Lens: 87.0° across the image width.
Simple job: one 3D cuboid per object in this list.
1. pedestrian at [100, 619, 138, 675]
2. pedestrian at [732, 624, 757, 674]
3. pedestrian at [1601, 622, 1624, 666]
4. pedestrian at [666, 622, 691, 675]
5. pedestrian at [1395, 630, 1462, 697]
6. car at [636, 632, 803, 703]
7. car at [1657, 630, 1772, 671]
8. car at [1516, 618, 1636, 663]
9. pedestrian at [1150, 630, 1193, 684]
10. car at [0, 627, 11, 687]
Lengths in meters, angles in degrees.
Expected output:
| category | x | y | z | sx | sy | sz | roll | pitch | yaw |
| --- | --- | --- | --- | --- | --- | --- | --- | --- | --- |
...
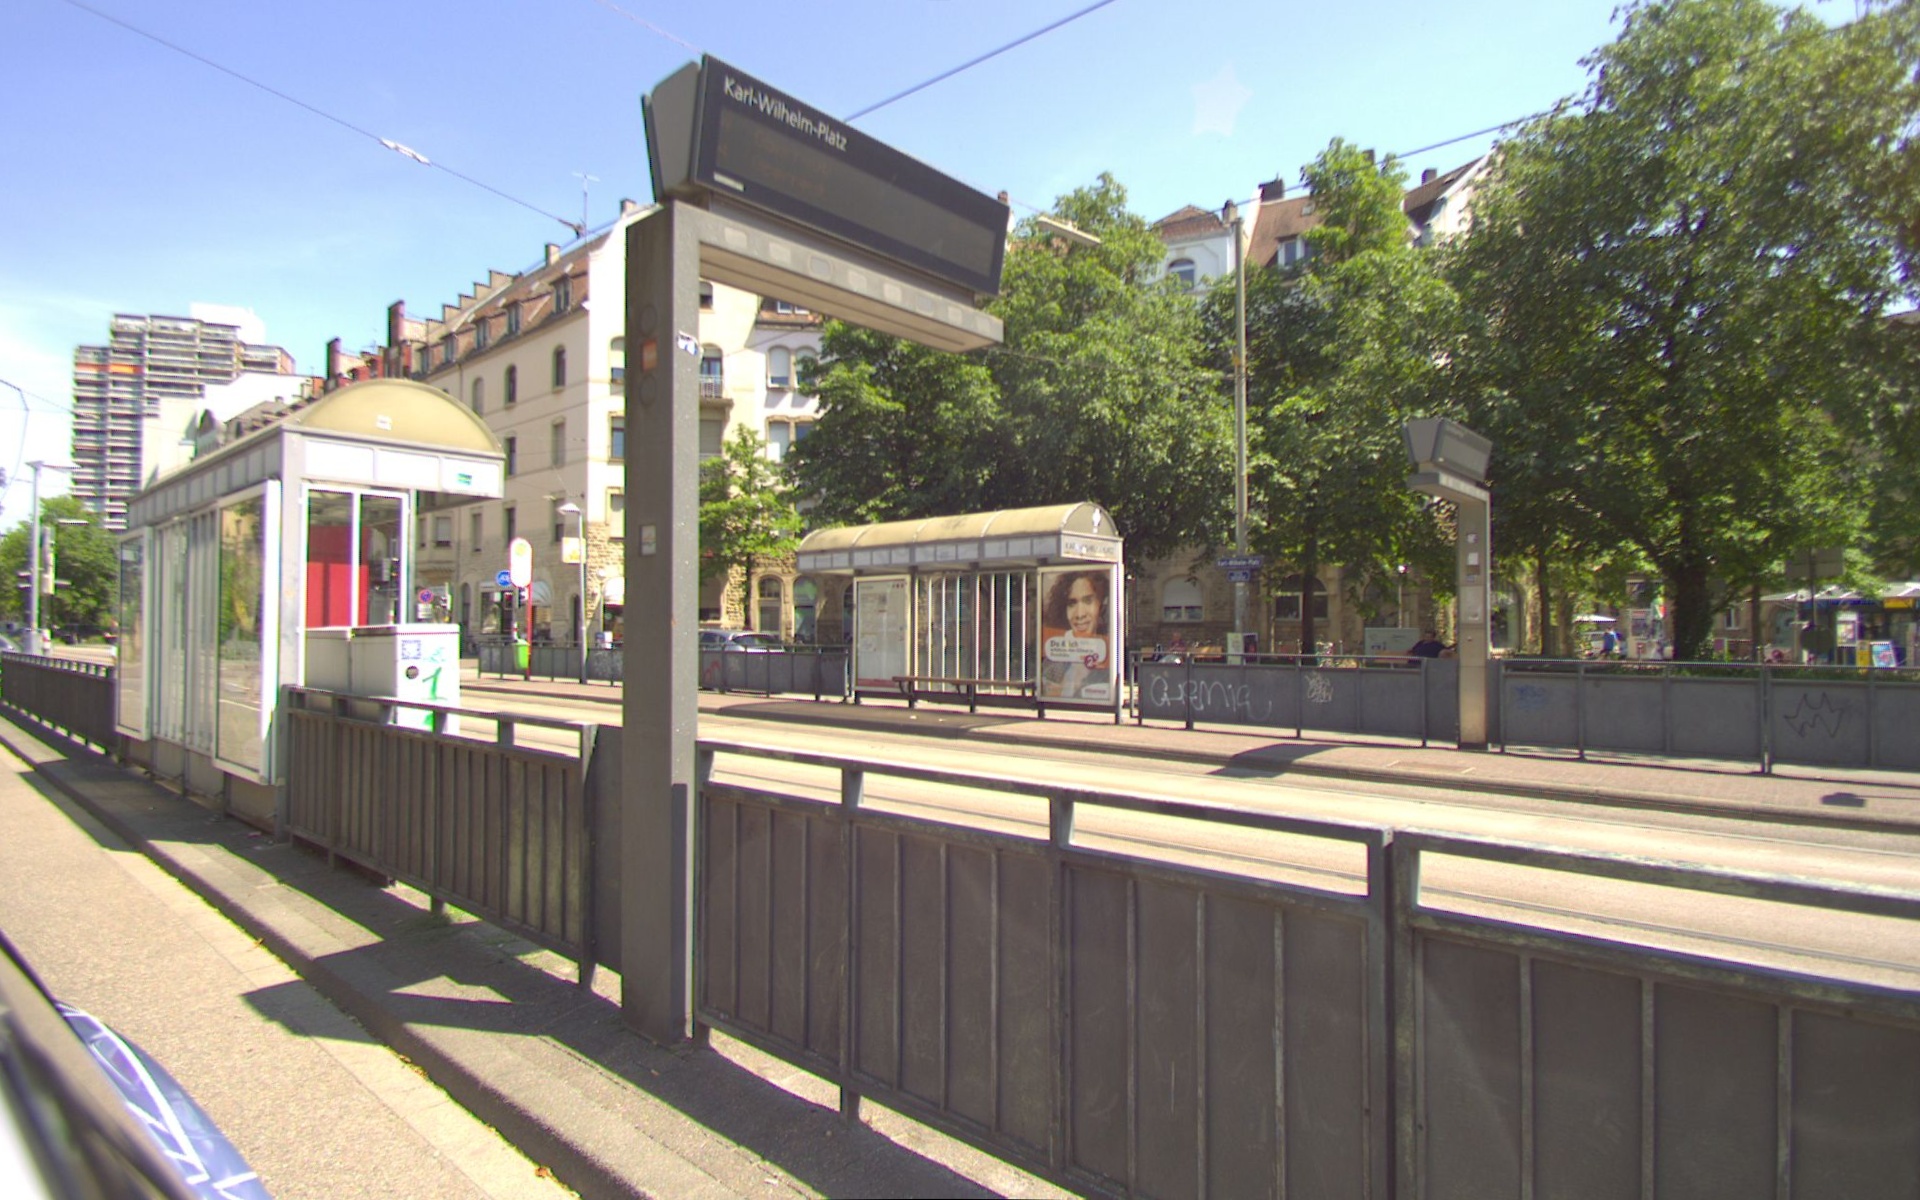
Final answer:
| category | x | y | z | sx | sy | sz | roll | pitch | yaw |
| --- | --- | --- | --- | --- | --- | --- | --- | --- | --- |
| pedestrian | -28.069 | 1.549 | 33.768 | 0.673 | 1.838 | 0.828 | -2 | -3 | 39 |
| pedestrian | -6.716 | 1.520 | 31.531 | 0.473 | 1.563 | 0.586 | -2 | -3 | 39 |
| pedestrian | 25.366 | 1.705 | 39.346 | 0.483 | 1.683 | 0.517 | 1 | -2 | -27 |
| pedestrian | -8.941 | 1.540 | 32.112 | 0.474 | 1.659 | 0.586 | -2 | -3 | 45 |
| pedestrian | 9.278 | 1.239 | 20.037 | 0.852 | 1.253 | 0.939 | -1 | 0 | -43 |
| car | -5.603 | 1.489 | 23.358 | 3.998 | 1.404 | 1.789 | -1 | 0 | 41 |
| car | 35.783 | 2.347 | 48.099 | 1.736 | 1.721 | 3.998 | -1 | 0 | -33 |
| car | 26.714 | 1.703 | 44.007 | 1.966 | 1.803 | 4.011 | -1 | 0 | -33 |
| pedestrian | 5.089 | 1.356 | 24.312 | 0.930 | 1.253 | 0.860 | -1 | 0 | 17 |
| car | -26.185 | 1.461 | 24.111 | 1.934 | 1.493 | 4.974 | -1 | 0 | 36 |
